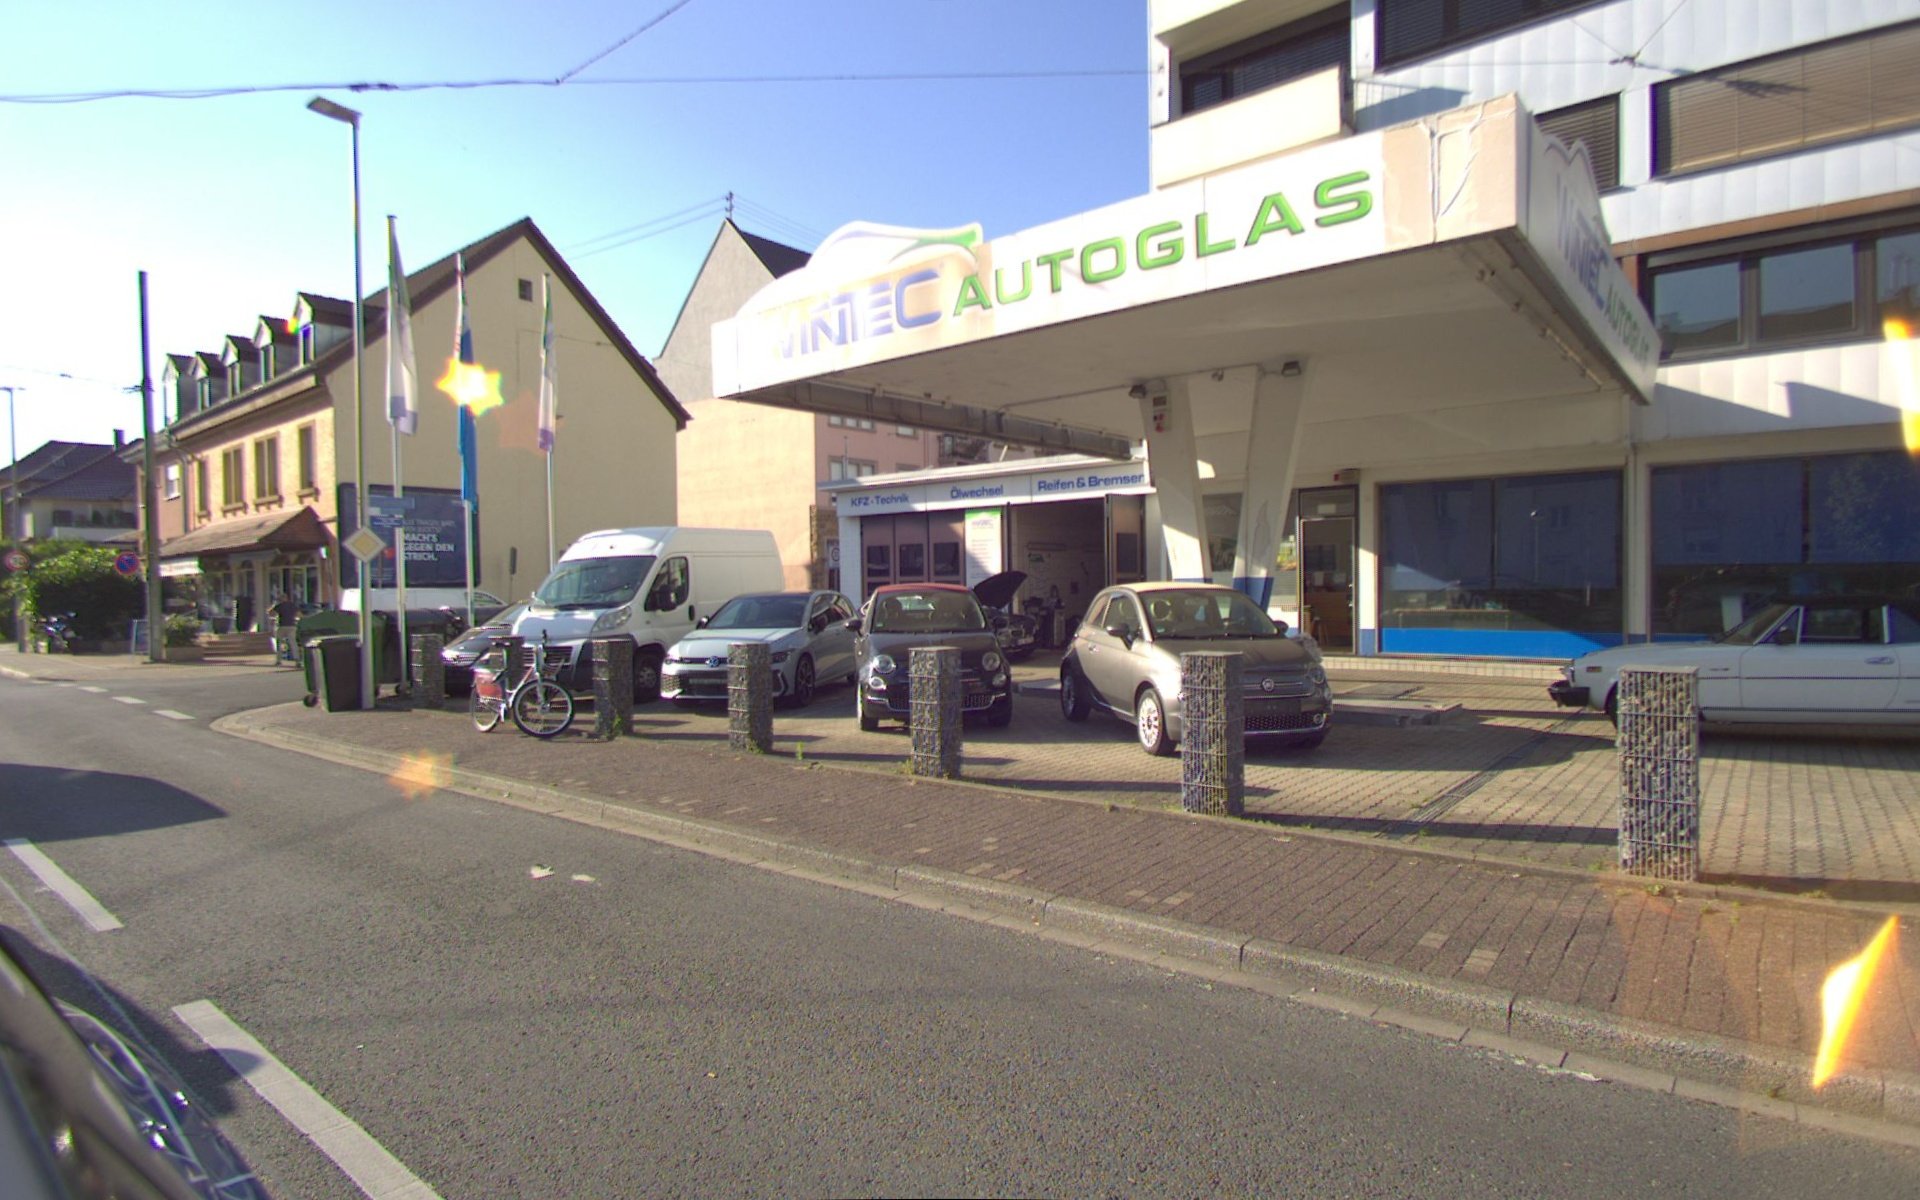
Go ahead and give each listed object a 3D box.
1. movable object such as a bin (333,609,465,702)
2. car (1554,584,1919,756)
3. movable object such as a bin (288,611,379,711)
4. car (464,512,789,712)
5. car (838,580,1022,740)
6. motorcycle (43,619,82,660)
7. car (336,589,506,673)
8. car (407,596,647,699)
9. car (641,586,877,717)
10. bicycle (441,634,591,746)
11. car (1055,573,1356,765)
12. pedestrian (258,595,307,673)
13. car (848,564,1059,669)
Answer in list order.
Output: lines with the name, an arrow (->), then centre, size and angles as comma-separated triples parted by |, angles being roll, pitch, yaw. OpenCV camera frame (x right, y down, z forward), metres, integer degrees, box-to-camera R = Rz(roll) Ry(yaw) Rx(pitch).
movable object such as a bin -> -9.580, 0.916, 17.373 | 1.039, 1.475, 1.787 | -1, 0, 15
car -> 7.382, 0.544, 8.575 | 3.898, 1.308, 1.506 | -1, -1, 37
movable object such as a bin -> -9.710, 0.918, 15.718 | 1.030, 1.475, 0.798 | -1, 0, -18
car -> -4.691, 0.132, 15.227 | 2.098, 2.472, 4.963 | -1, 0, 18
car -> -0.486, 0.565, 11.512 | 1.569, 1.508, 3.443 | -1, 0, -10
motorcycle -> -27.970, 1.204, 31.533 | 2.186, 1.226, 0.699 | -1, 0, 43
car -> -13.897, 0.739, 26.256 | 1.449, 2.029, 3.628 | -1, 0, 37
car -> -7.066, 0.704, 17.012 | 1.725, 1.488, 4.016 | -1, 0, 12
car -> -2.535, 0.589, 13.809 | 1.725, 1.508, 4.016 | -1, 0, 12
bicycle -> -4.899, 0.942, 11.126 | 1.789, 1.094, 0.716 | -1, 1, 37
car -> 2.150, 0.536, 9.798 | 1.517, 1.497, 3.381 | -1, 0, -11
pedestrian -> -16.697, 0.825, 24.959 | 0.766, 1.866, 0.812 | -1, 0, 40
car -> -0.210, 0.322, 20.924 | 4.255, 1.958, 1.720 | -1, 0, 40
